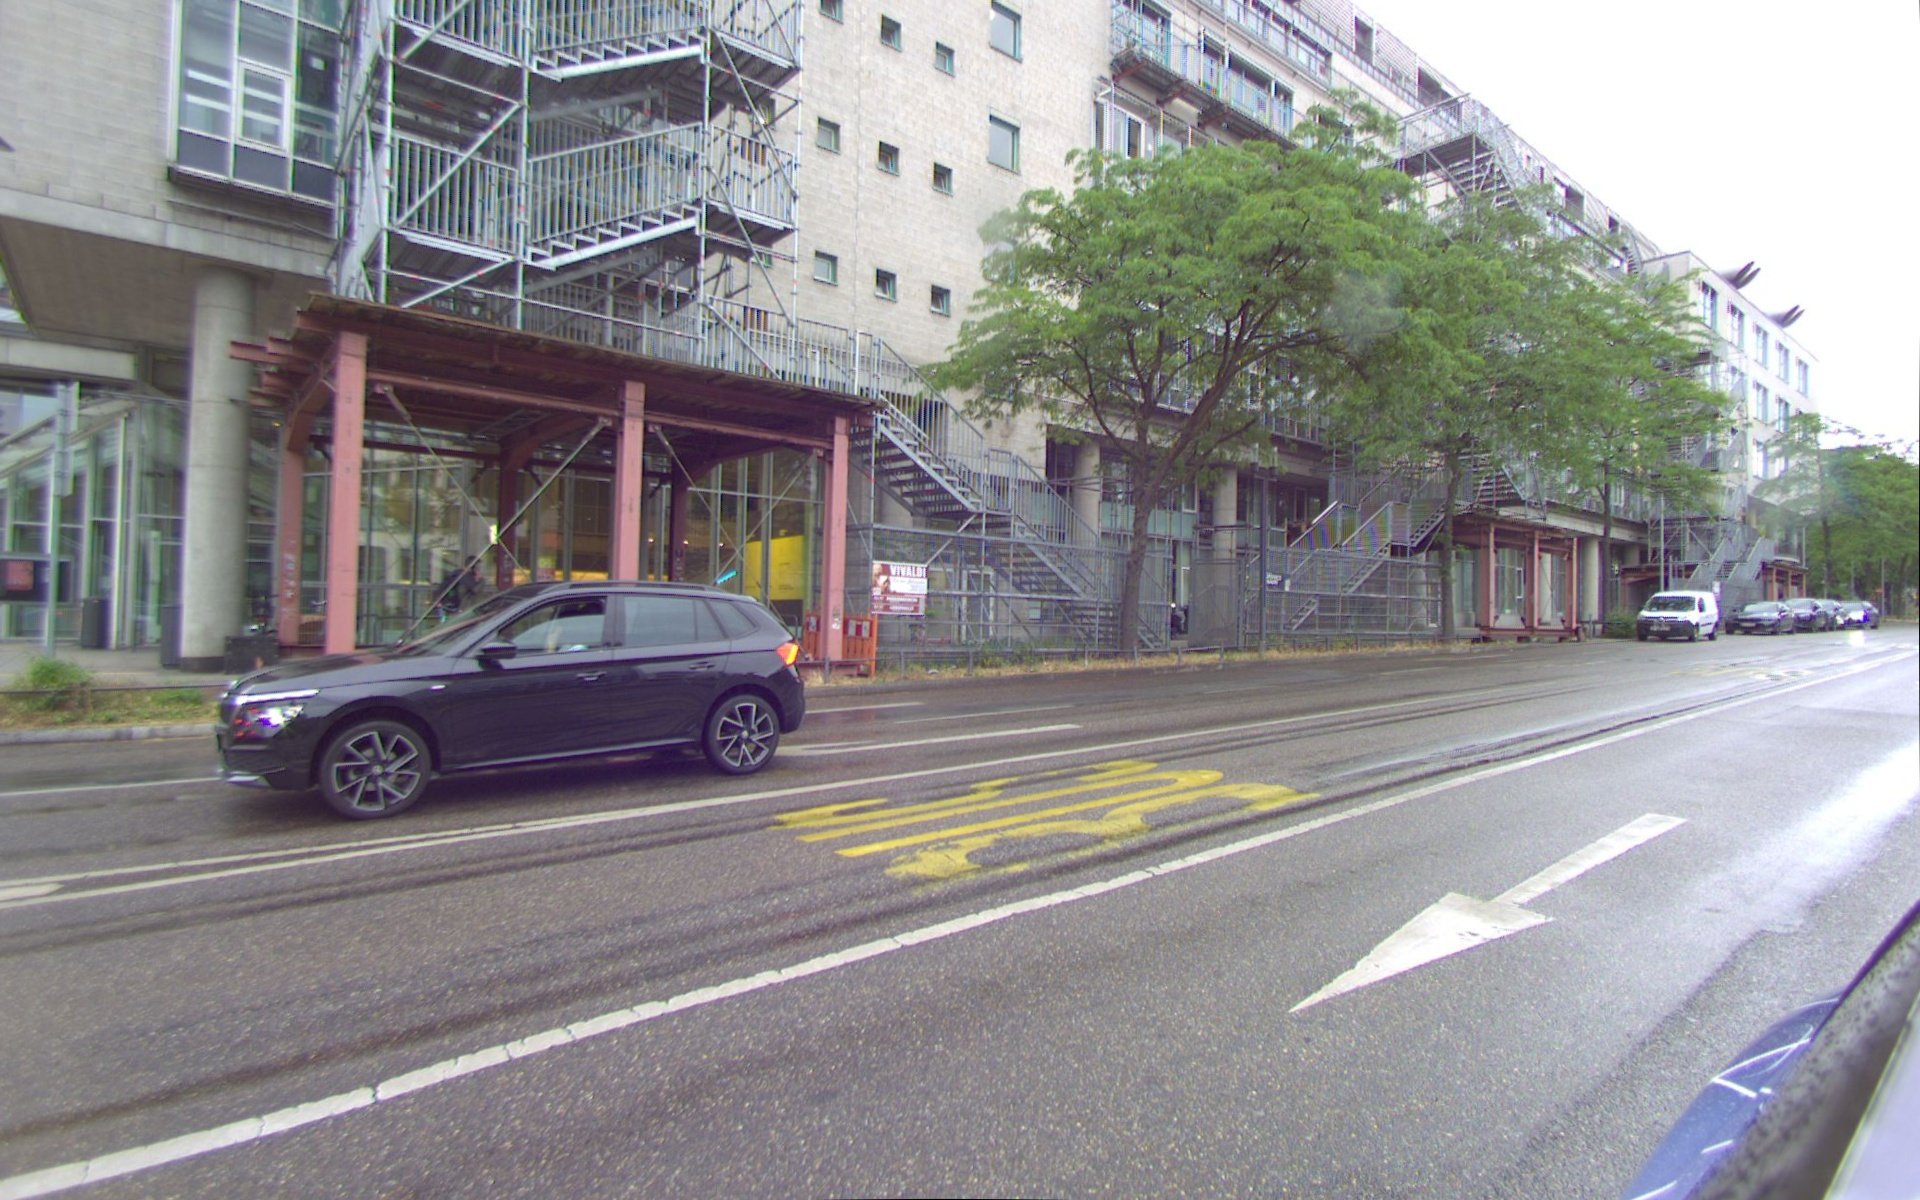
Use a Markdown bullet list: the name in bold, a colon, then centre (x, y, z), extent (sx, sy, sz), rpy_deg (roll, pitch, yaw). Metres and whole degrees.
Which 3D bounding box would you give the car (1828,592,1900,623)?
- **car**: centre (49.110, 0.410, 54.952), extent (5.191, 1.621, 1.999), rpy_deg (0, 0, -38)

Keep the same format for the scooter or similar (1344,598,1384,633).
- **scooter or similar**: centre (13.803, 0.527, 34.547), extent (1.520, 1.176, 0.632), rpy_deg (0, 0, -41)

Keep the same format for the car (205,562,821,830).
- **car**: centre (-3.302, 0.548, 7.865), extent (4.071, 1.559, 1.782), rpy_deg (0, 0, -39)

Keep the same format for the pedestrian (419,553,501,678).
- **pedestrian**: centre (-7.771, 0.225, 15.736), extent (1.036, 1.875, 0.682), rpy_deg (0, 0, -36)

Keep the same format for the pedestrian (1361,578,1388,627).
- **pedestrian**: centre (15.267, 0.080, 37.254), extent (0.641, 1.764, 0.678), rpy_deg (0, 0, -38)

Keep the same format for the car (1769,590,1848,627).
- **car**: centre (40.359, 0.368, 48.112), extent (4.774, 1.667, 1.998), rpy_deg (0, 0, -39)

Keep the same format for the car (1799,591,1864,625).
- **car**: centre (44.389, 0.393, 51.524), extent (4.512, 1.621, 1.865), rpy_deg (0, 0, -41)

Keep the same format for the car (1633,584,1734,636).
- **car**: centre (26.222, 0.323, 36.619), extent (4.447, 1.772, 1.997), rpy_deg (0, 0, -41)

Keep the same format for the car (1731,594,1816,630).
- **car**: centre (35.255, 0.513, 43.807), extent (4.831, 1.455, 1.873), rpy_deg (0, 0, -39)
